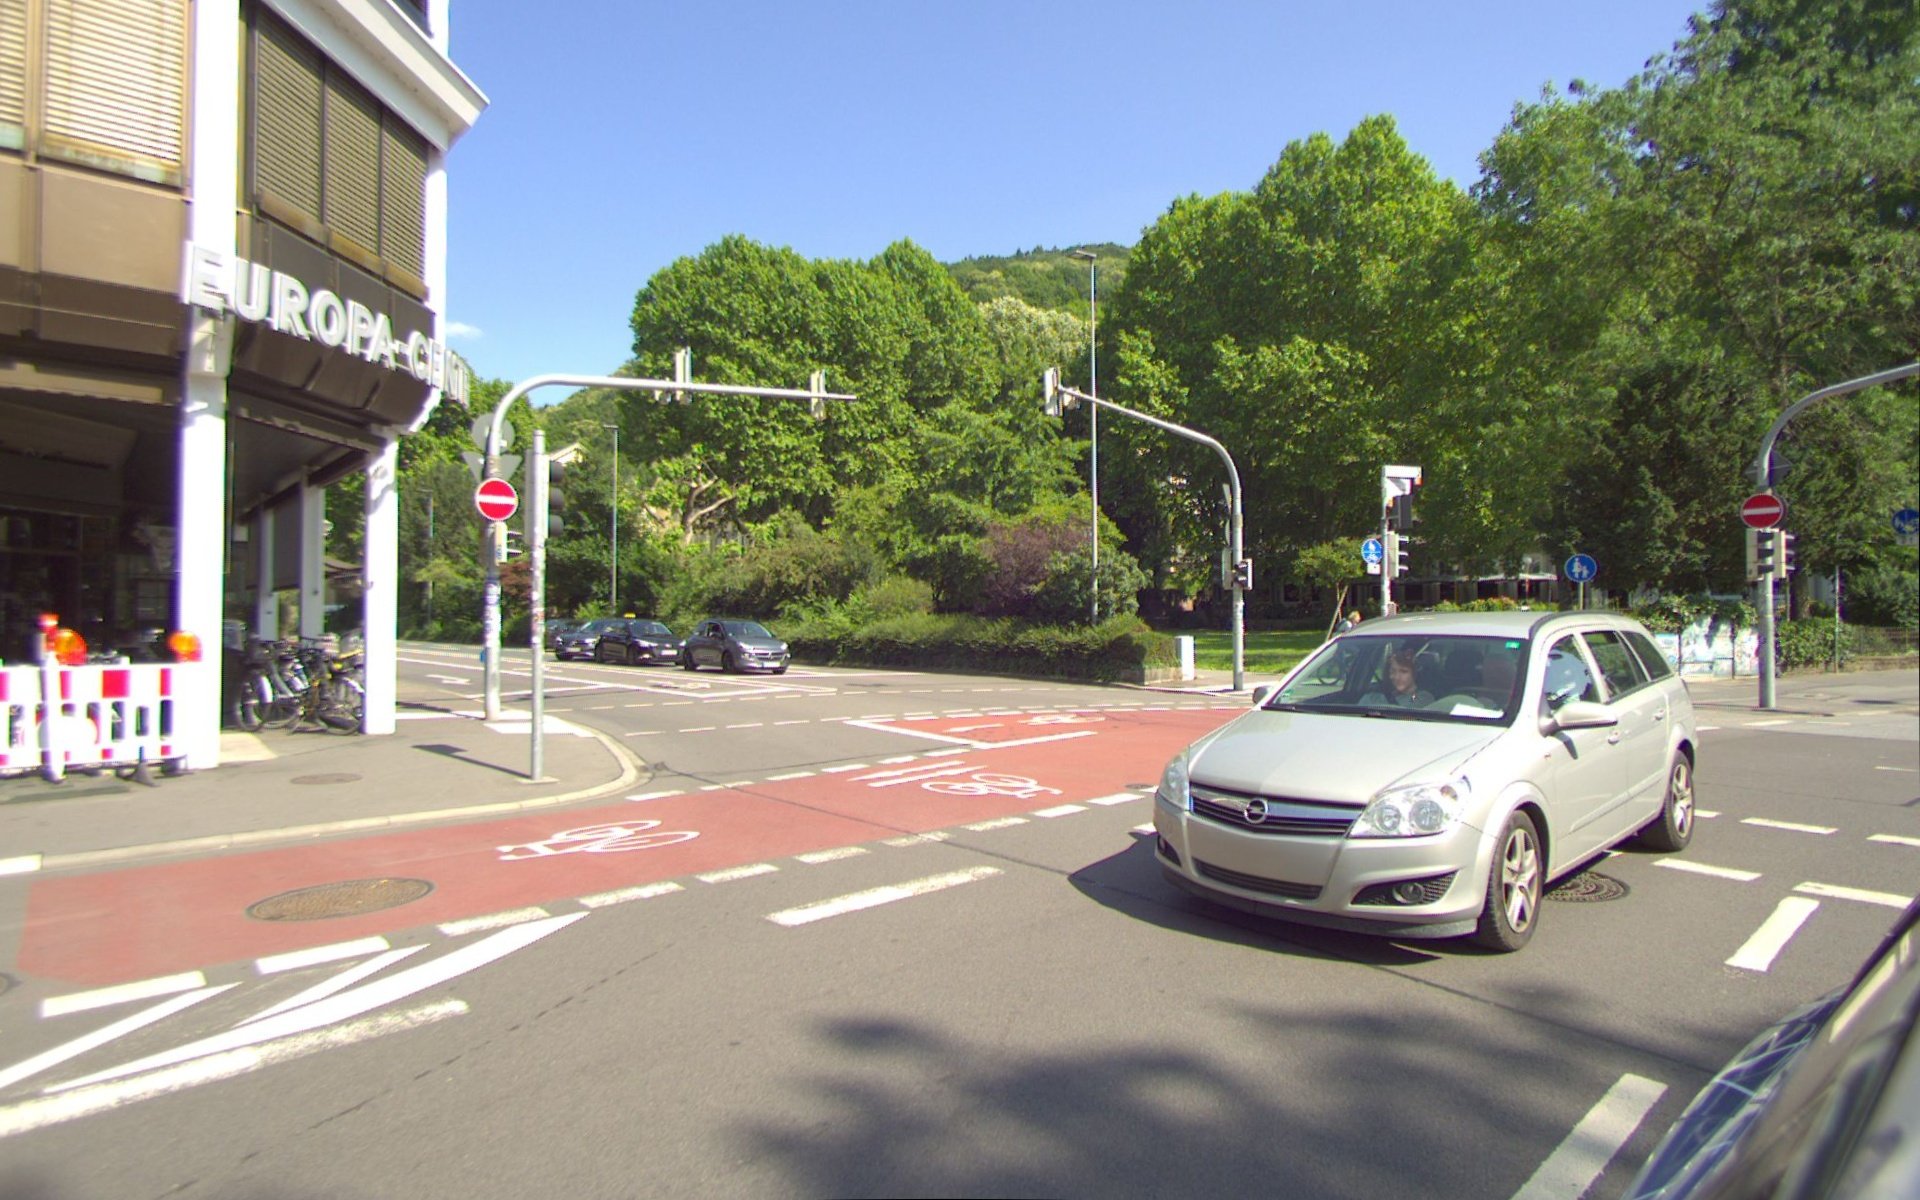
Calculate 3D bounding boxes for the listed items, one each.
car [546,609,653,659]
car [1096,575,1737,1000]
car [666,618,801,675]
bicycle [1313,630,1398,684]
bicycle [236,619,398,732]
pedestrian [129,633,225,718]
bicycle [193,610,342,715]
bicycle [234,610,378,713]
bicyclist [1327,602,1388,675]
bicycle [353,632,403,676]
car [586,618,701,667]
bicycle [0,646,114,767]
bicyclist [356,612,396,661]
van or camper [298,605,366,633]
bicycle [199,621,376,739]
[{"bbox_3d":[-12.498,1.161,35.398,2.026,1.604,4.744,-1,-1,0],"label":"car"},{"bbox_3d":[2.854,0.711,5.783,4.330,1.542,1.710,1,-2,-42],"label":"car"},{"bbox_3d":[-6.161,1.198,27.296,1.827,1.381,4.090,2,-2,-41],"label":"car"},{"bbox_3d":[8.983,1.271,23.040,0.768,1.135,1.679,0,0,-31],"label":"bicycle"},{"bbox_3d":[-8.099,0.930,12.769,1.829,1.333,0.529,1,-1,10],"label":"bicycle"},{"bbox_3d":[-12.936,1.222,16.740,0.957,1.352,0.826,0,-1,12],"label":"pedestrian"},{"bbox_3d":[-10.014,0.885,14.641,1.935,1.440,0.529,1,-1,10],"label":"bicycle"},{"bbox_3d":[-9.820,0.907,15.208,1.935,1.440,0.529,2,-1,10],"label":"bicycle"},{"bbox_3d":[9.008,0.854,22.956,0.851,1.595,0.943,-1,0,-33],"label":"bicyclist"},{"bbox_3d":[-16.465,1.510,28.596,0.752,1.134,2.117,-1,0,-43],"label":"bicycle"},{"bbox_3d":[-9.858,1.266,31.326,1.828,1.381,4.088,2,-2,-42],"label":"car"},{"bbox_3d":[-8.732,0.978,9.365,1.441,1.079,0.309,1,0,-6],"label":"bicycle"},{"bbox_3d":[-16.516,1.026,28.621,0.769,1.325,0.941,-1,0,-43],"label":"bicyclist"},{"bbox_3d":[-67.906,2.007,109.513,5.803,2.941,2.386,-1,-1,-4],"label":"van or camper"},{"bbox_3d":[-8.126,0.937,12.240,1.935,1.333,0.529,1,-1,10],"label":"bicycle"}]
